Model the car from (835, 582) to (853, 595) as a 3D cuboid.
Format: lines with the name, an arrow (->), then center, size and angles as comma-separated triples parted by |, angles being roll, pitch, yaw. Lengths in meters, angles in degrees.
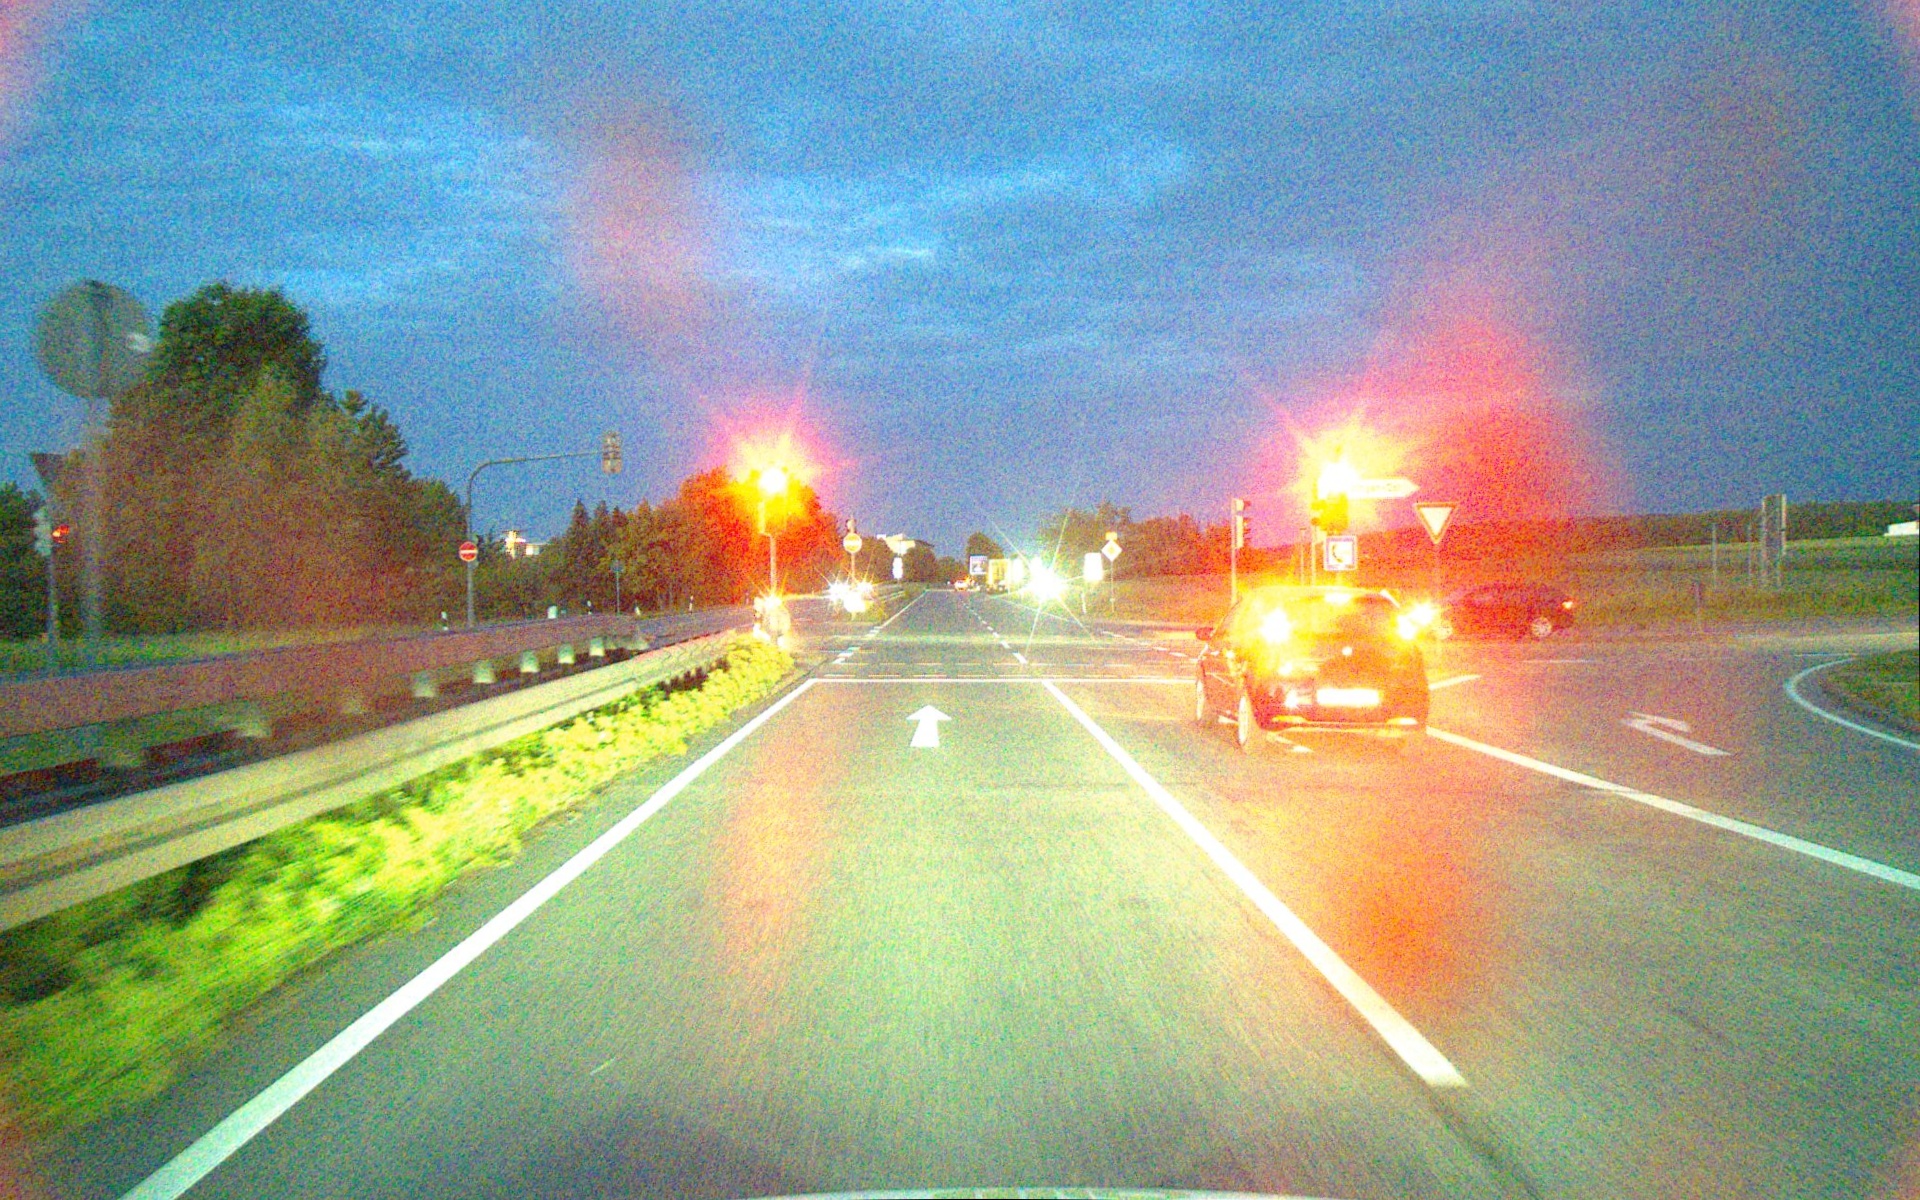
car -> -14.422, -1.423, 205.335 | 1.953, 1.545, 4.297 | -1, 1, -1

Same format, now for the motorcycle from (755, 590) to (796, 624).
motorcycle -> -6.333, 0.219, 56.643 | 0.963, 1.117, 2.497 | -2, 1, -17

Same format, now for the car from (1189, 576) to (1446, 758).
car -> 3.321, 0.547, 16.113 | 1.636, 1.547, 4.106 | 0, 1, 0

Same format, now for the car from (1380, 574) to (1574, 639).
car -> 13.643, 0.157, 43.816 | 4.507, 1.547, 2.000 | -2, 1, -1

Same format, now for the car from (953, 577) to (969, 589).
car -> 0.109, -2.575, 250.515 | 2.228, 1.660, 3.999 | -1, 1, -2

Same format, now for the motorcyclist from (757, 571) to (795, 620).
motorcyclist -> -6.288, -0.160, 56.440 | 1.119, 1.612, 0.968 | -1, 1, -17
